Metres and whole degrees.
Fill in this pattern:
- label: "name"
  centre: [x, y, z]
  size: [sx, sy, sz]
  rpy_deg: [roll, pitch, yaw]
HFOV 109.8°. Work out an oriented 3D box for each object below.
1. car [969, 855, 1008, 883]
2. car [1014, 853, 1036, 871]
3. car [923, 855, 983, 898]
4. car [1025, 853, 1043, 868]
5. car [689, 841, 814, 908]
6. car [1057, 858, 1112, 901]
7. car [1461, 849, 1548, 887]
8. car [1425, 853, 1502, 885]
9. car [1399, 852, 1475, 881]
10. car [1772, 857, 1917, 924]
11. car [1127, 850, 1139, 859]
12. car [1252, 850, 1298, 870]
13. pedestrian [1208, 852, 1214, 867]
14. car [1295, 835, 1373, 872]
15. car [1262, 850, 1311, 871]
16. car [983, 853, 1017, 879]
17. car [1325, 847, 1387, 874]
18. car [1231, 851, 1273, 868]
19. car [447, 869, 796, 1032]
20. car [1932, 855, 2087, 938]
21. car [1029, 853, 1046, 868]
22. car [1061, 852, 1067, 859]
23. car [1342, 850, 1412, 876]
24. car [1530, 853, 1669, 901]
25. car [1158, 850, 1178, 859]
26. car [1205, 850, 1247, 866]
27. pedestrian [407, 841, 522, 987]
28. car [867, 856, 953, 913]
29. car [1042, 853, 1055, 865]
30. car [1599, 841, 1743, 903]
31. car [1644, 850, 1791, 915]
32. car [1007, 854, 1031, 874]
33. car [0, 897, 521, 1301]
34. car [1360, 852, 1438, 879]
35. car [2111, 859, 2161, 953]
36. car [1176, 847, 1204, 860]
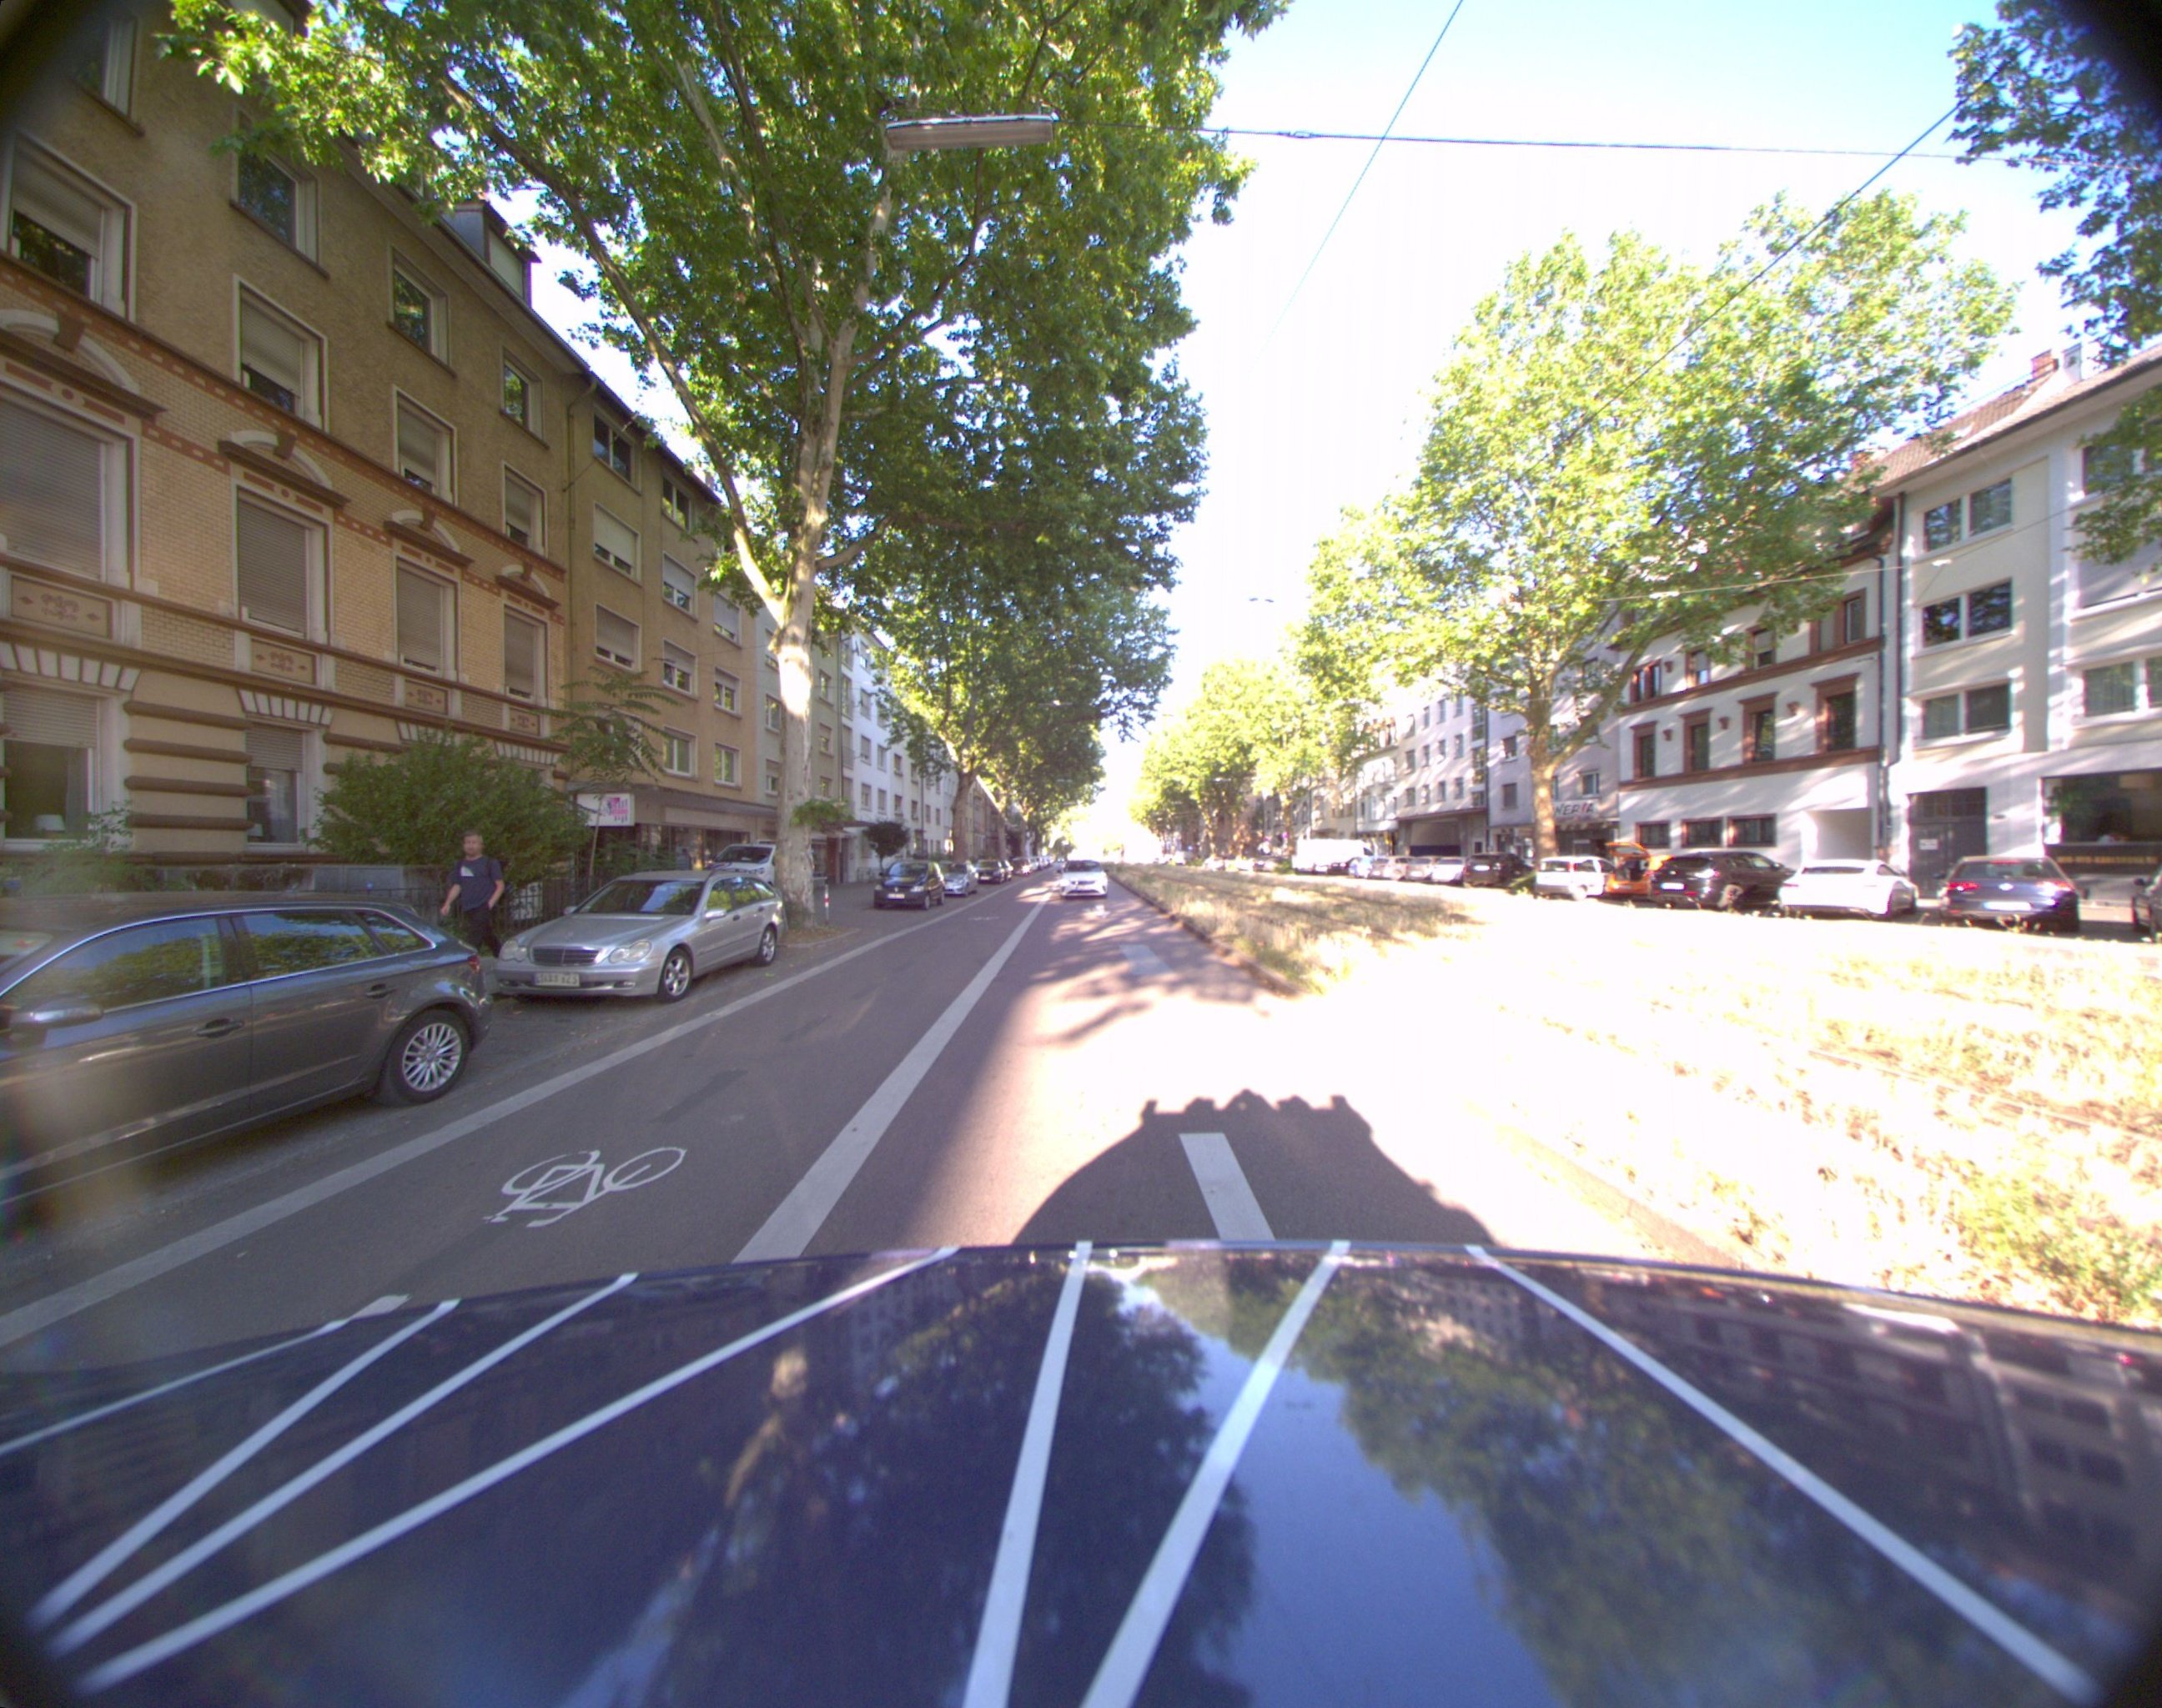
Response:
- label: "car"
  centre: [-5.461, 0.845, 45.371]
  size: [1.803, 1.494, 4.369]
  rpy_deg: [2, 0, -1]
- label: "car"
  centre: [-5.368, 0.771, 73.542]
  size: [1.803, 1.599, 4.104]
  rpy_deg: [2, 0, -1]
- label: "car"
  centre: [-5.338, 0.902, 32.226]
  size: [1.803, 1.599, 4.369]
  rpy_deg: [2, 0, -1]
- label: "car"
  centre: [-5.382, 0.737, 86.693]
  size: [1.803, 1.599, 4.104]
  rpy_deg: [2, 0, -1]
- label: "car"
  centre: [-10.373, 0.588, 24.355]
  size: [1.933, 1.864, 4.677]
  rpy_deg: [2, 0, -1]
- label: "car"
  centre: [0.112, 0.893, 28.418]
  size: [1.865, 1.394, 3.931]
  rpy_deg: [-2, 0, 0]
- label: "car"
  centre: [19.048, 0.576, 34.132]
  size: [4.266, 1.605, 1.902]
  rpy_deg: [-1, 1, -38]
- label: "car"
  centre: [18.988, 0.706, 37.639]
  size: [4.265, 1.451, 1.598]
  rpy_deg: [-1, 1, -36]
- label: "car"
  centre: [19.208, 0.640, 40.935]
  size: [4.265, 1.449, 1.902]
  rpy_deg: [-1, 0, -36]
- label: "car"
  centre: [18.564, 0.790, 18.419]
  size: [4.266, 1.369, 2.147]
  rpy_deg: [-1, 0, -40]
- label: "car"
  centre: [14.967, 0.154, 219.910]
  size: [2.963, 2.407, 6.327]
  rpy_deg: [-2, 1, 1]
- label: "car"
  centre: [18.652, 0.568, 73.006]
  size: [4.005, 1.805, 1.995]
  rpy_deg: [-1, 1, -27]
- label: "pedestrian"
  centre: [14.222, 0.587, 83.050]
  size: [0.620, 1.588, 0.422]
  rpy_deg: [0, 1, 1]
- label: "car"
  centre: [19.191, -0.031, 57.562]
  size: [5.619, 2.684, 2.176]
  rpy_deg: [-1, 1, -24]
- label: "car"
  centre: [18.829, 0.577, 69.734]
  size: [4.005, 1.805, 1.995]
  rpy_deg: [-1, 1, -27]
- label: "car"
  centre: [-5.387, 0.765, 50.956]
  size: [1.803, 1.599, 4.369]
  rpy_deg: [2, 0, -1]
- label: "car"
  centre: [19.804, 0.445, 54.792]
  size: [4.005, 1.805, 1.995]
  rpy_deg: [-1, 1, -27]
- label: "car"
  centre: [18.373, 0.571, 81.474]
  size: [4.005, 1.696, 1.995]
  rpy_deg: [-1, 1, -27]
- label: "car"
  centre: [-5.382, 1.006, 9.760]
  size: [1.803, 1.446, 4.511]
  rpy_deg: [2, 0, -1]
- label: "car"
  centre: [19.315, 0.783, 15.976]
  size: [3.979, 1.495, 1.827]
  rpy_deg: [-1, 1, -42]
- label: "car"
  centre: [-5.313, 0.736, 92.890]
  size: [1.803, 1.742, 4.104]
  rpy_deg: [2, 0, -1]
- label: "car"
  centre: [-5.579, 0.547, 251.591]
  size: [1.998, 2.002, 4.000]
  rpy_deg: [-2, 1, 1]
- label: "car"
  centre: [18.792, 0.549, 48.258]
  size: [4.005, 1.608, 1.995]
  rpy_deg: [-1, 0, -27]
- label: "car"
  centre: [18.141, 0.765, 26.620]
  size: [4.260, 1.548, 1.641]
  rpy_deg: [0, 1, -15]
- label: "car"
  centre: [17.618, 0.077, 153.828]
  size: [3.994, 1.802, 1.874]
  rpy_deg: [0, 1, 10]
- label: "car"
  centre: [15.971, 0.419, 83.826]
  size: [4.234, 1.696, 1.999]
  rpy_deg: [0, 0, -4]
- label: "pedestrian"
  centre: [-7.573, 0.702, 9.369]
  size: [0.728, 1.701, 0.816]
  rpy_deg: [2, 1, 0]
- label: "car"
  centre: [-5.406, 0.895, 24.590]
  size: [1.803, 1.599, 4.369]
  rpy_deg: [2, 0, -1]
- label: "car"
  centre: [-4.708, 0.692, 109.982]
  size: [1.803, 1.598, 3.702]
  rpy_deg: [2, 0, -1]
- label: "car"
  centre: [19.496, 0.558, 25.127]
  size: [4.260, 1.932, 1.514]
  rpy_deg: [0, 1, -15]
- label: "car"
  centre: [18.223, 0.734, 21.704]
  size: [4.265, 1.674, 2.147]
  rpy_deg: [-1, 1, -34]
- label: "car"
  centre: [-5.364, 0.835, 66.234]
  size: [1.803, 1.599, 4.104]
  rpy_deg: [2, 0, -1]
- label: "car"
  centre: [-5.200, 1.062, 3.595]
  size: [1.802, 1.393, 4.370]
  rpy_deg: [2, 0, 1]
- label: "car"
  centre: [18.880, 0.664, 45.131]
  size: [4.004, 1.509, 1.996]
  rpy_deg: [0, 0, -20]
- label: "car"
  centre: [19.066, 0.816, 12.719]
  size: [3.979, 1.424, 1.738]
  rpy_deg: [-1, -1, -42]
- label: "car"
  centre: [18.645, -0.031, 129.921]
  size: [4.952, 2.200, 2.096]
  rpy_deg: [-1, 1, -42]
